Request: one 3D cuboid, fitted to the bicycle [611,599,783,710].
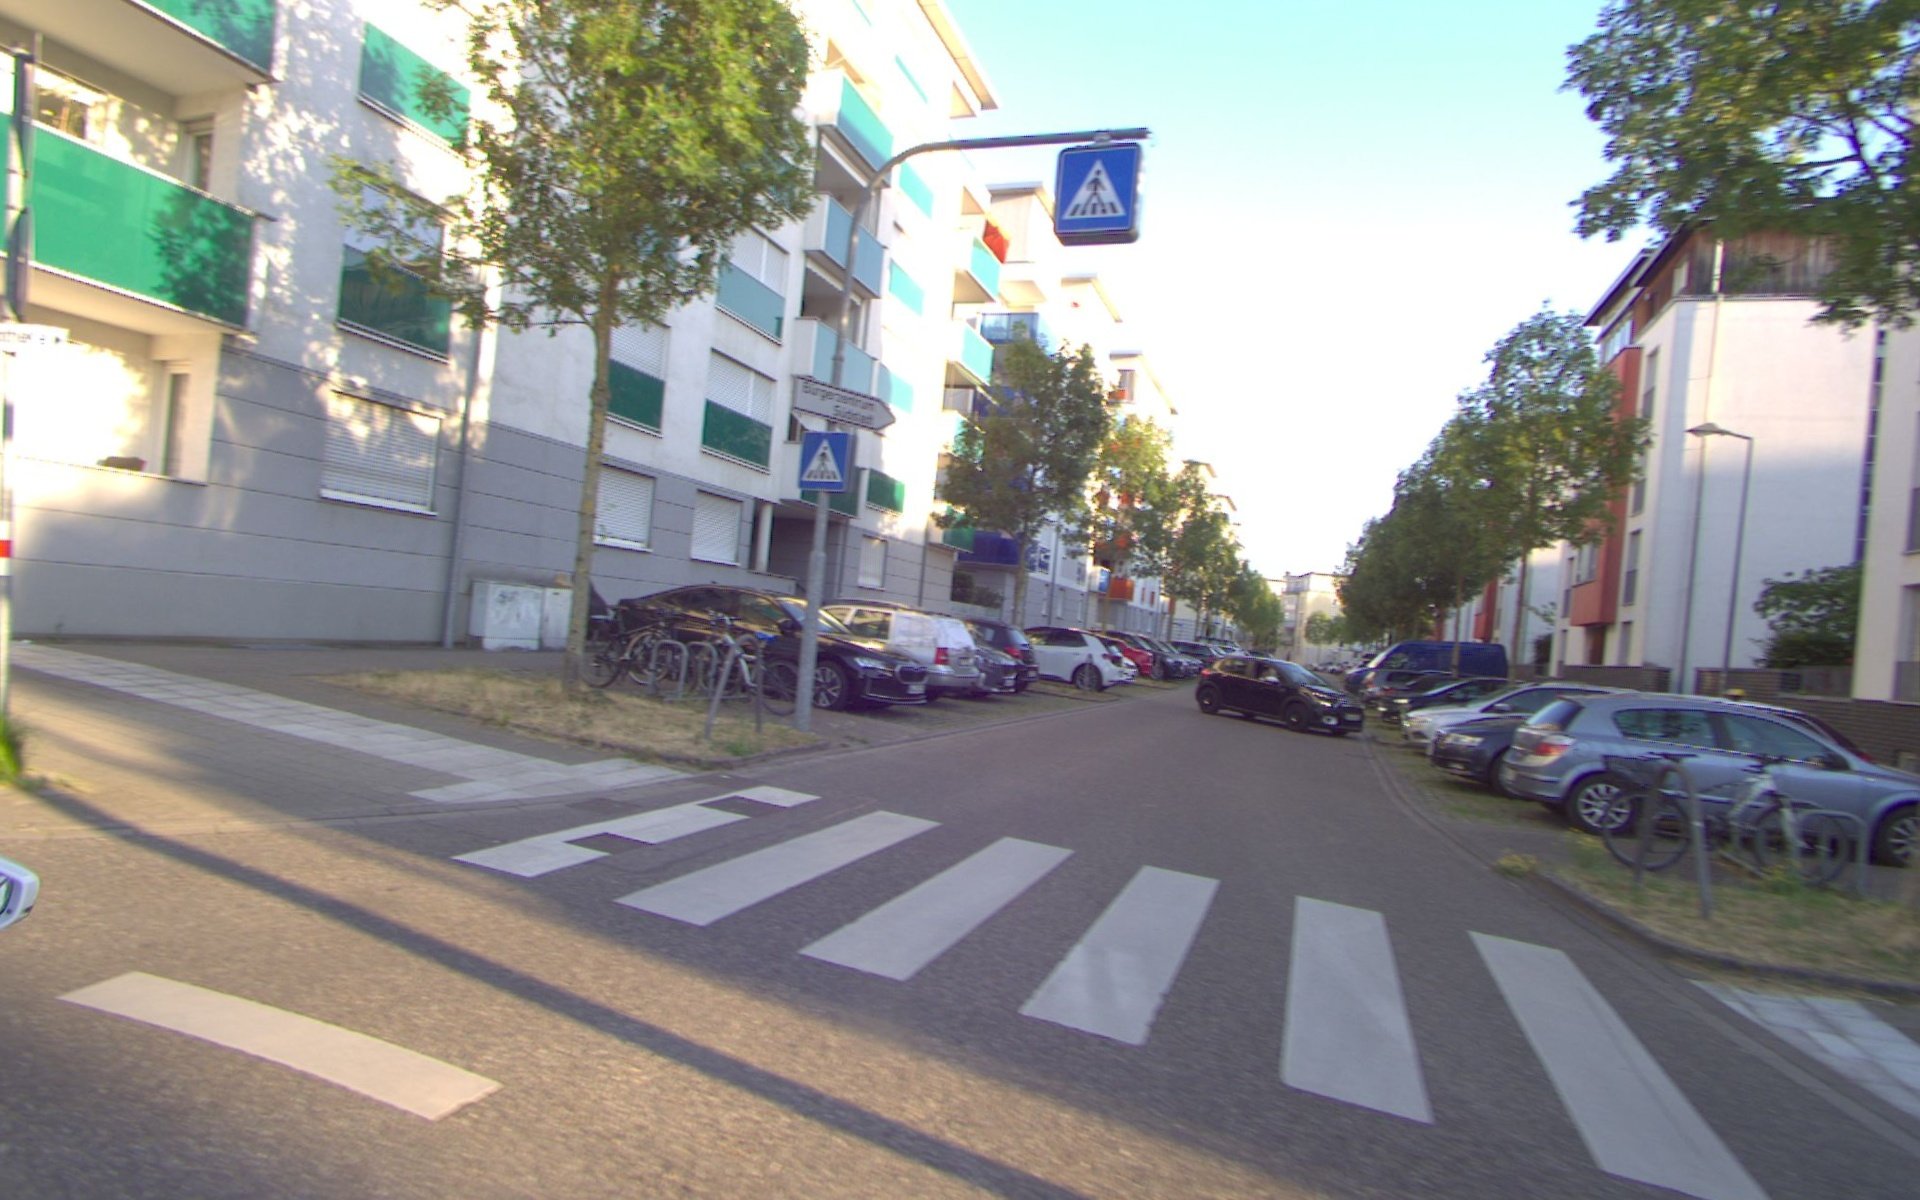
[{"bbox_3d":[-3.289,0.665,12.553,1.997,1.058,0.474,8,0,17],"label":"bicycle"}]

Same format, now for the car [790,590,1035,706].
[{"bbox_3d":[-0.898,0.907,19.388,4.217,1.512,1.743,8,0,20],"label":"car"}]

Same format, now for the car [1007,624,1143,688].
[{"bbox_3d":[3.610,1.730,31.383,3.847,1.360,1.725,8,0,16],"label":"car"}]

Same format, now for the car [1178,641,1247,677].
[{"bbox_3d":[17.174,4.001,68.459,4.176,1.800,1.693,8,0,22],"label":"car"}]

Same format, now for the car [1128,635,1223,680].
[{"bbox_3d":[10.585,2.828,49.494,4.176,1.555,1.693,8,0,22],"label":"car"}]

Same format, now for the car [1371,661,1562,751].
[{"bbox_3d":[12.360,2.546,24.802,3.847,1.731,1.725,5,-1,16],"label":"car"}]

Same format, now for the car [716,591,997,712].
[{"bbox_3d":[-1.759,0.837,16.986,4.336,1.526,1.742,5,-2,24],"label":"car"}]

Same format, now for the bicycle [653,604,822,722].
[{"bbox_3d":[-2.600,0.723,11.745,1.805,1.084,0.474,8,0,17],"label":"bicycle"}]

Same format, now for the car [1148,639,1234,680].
[{"bbox_3d":[12.491,3.200,54.427,4.176,1.555,1.693,8,0,22],"label":"car"}]

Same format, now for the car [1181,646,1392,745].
[{"bbox_3d":[7.185,2.084,22.544,1.763,1.480,4.138,9,-1,-35],"label":"car"}]

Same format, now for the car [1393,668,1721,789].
[{"bbox_3d":[10.453,2.204,18.018,4.672,1.604,1.760,4,-2,17],"label":"car"}]

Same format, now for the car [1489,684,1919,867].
[{"bbox_3d":[8.112,1.766,10.610,4.214,1.475,1.681,2,-2,19],"label":"car"}]

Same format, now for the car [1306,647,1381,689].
[{"bbox_3d":[24.270,4.292,63.841,4.175,1.954,1.693,8,0,20],"label":"car"}]

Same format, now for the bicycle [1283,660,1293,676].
[{"bbox_3d":[29.855,6.188,91.552,0.757,1.282,1.782,5,-2,19],"label":"bicycle"}]

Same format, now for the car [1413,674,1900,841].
[{"bbox_3d":[8.654,1.911,13.050,4.827,1.496,1.711,4,-2,19],"label":"car"}]

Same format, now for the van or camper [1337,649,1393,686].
[{"bbox_3d":[35.574,5.941,88.494,4.176,2.565,1.761,8,0,21],"label":"van or camper"}]

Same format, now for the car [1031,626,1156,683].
[{"bbox_3d":[4.727,1.907,35.554,4.027,1.378,1.667,8,0,16],"label":"car"}]

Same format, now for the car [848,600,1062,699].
[{"bbox_3d":[-0.138,1.062,21.991,4.223,1.475,1.741,8,0,29],"label":"car"}]

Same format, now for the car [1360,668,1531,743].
[{"bbox_3d":[13.137,2.827,27.455,3.847,1.533,1.725,5,-1,16],"label":"car"}]

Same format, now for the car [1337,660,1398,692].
[{"bbox_3d":[32.006,5.958,79.061,4.176,1.808,1.693,8,0,22],"label":"car"}]

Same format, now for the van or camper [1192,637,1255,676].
[{"bbox_3d":[19.852,4.257,75.773,4.175,2.237,1.693,8,0,20],"label":"van or camper"}]

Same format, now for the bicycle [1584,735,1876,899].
[{"bbox_3d":[6.260,1.741,8.282,1.788,1.079,0.567,2,-2,18],"label":"bicycle"}]

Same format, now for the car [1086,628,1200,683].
[{"bbox_3d":[7.356,2.227,40.427,4.174,1.527,1.753,8,0,16],"label":"car"}]

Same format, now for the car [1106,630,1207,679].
[{"bbox_3d":[8.869,2.464,45.308,4.174,1.527,1.753,8,0,16],"label":"car"}]

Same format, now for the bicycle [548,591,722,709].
[{"bbox_3d":[-3.706,0.563,11.490,1.759,1.054,0.567,8,0,17],"label":"bicycle"}]

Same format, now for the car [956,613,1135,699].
[{"bbox_3d":[2.244,1.432,26.233,4.216,1.526,1.686,8,0,17],"label":"car"}]

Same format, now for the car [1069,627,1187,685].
[{"bbox_3d":[6.308,2.076,37.677,4.027,1.527,1.667,8,0,16],"label":"car"}]

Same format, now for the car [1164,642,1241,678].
[{"bbox_3d":[14.726,3.635,61.067,4.176,1.555,1.693,8,0,22],"label":"car"}]

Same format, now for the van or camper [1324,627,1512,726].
[{"bbox_3d":[17.799,2.942,39.486,6.198,3.124,2.444,5,-1,16],"label":"van or camper"}]

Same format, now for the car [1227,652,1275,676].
[{"bbox_3d":[28.812,6.349,99.623,4.176,1.658,1.693,8,0,22],"label":"car"}]

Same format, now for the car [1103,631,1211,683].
[{"bbox_3d":[8.351,2.405,42.560,4.174,1.527,1.753,8,0,16],"label":"car"}]

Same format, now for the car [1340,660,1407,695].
[{"bbox_3d":[29.668,5.533,72.342,4.175,1.808,1.693,8,0,20],"label":"car"}]

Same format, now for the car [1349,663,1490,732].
[{"bbox_3d":[15.767,3.327,34.730,4.027,1.645,1.725,8,0,16],"label":"car"}]

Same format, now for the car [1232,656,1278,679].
[{"bbox_3d":[30.094,6.870,102.653,4.176,1.635,1.693,8,0,22],"label":"car"}]

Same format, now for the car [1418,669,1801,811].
[{"bbox_3d":[9.741,2.049,15.603,4.704,1.573,1.710,3,-2,24],"label":"car"}]

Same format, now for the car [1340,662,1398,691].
[{"bbox_3d":[32.969,6.185,81.191,4.176,1.658,1.693,8,0,22],"label":"car"}]

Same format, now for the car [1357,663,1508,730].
[{"bbox_3d":[15.041,3.039,32.229,4.026,1.645,1.725,5,-1,16],"label":"car"}]

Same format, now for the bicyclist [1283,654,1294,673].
[{"bbox_3d":[29.904,5.777,91.555,0.753,1.647,0.663,5,-1,19],"label":"bicyclist"}]

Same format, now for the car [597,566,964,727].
[{"bbox_3d":[-2.600,0.623,14.530,4.801,1.475,1.938,8,0,23],"label":"car"}]

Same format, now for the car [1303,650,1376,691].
[{"bbox_3d":[24.758,4.612,65.797,4.175,2.027,1.693,8,0,20],"label":"car"}]
